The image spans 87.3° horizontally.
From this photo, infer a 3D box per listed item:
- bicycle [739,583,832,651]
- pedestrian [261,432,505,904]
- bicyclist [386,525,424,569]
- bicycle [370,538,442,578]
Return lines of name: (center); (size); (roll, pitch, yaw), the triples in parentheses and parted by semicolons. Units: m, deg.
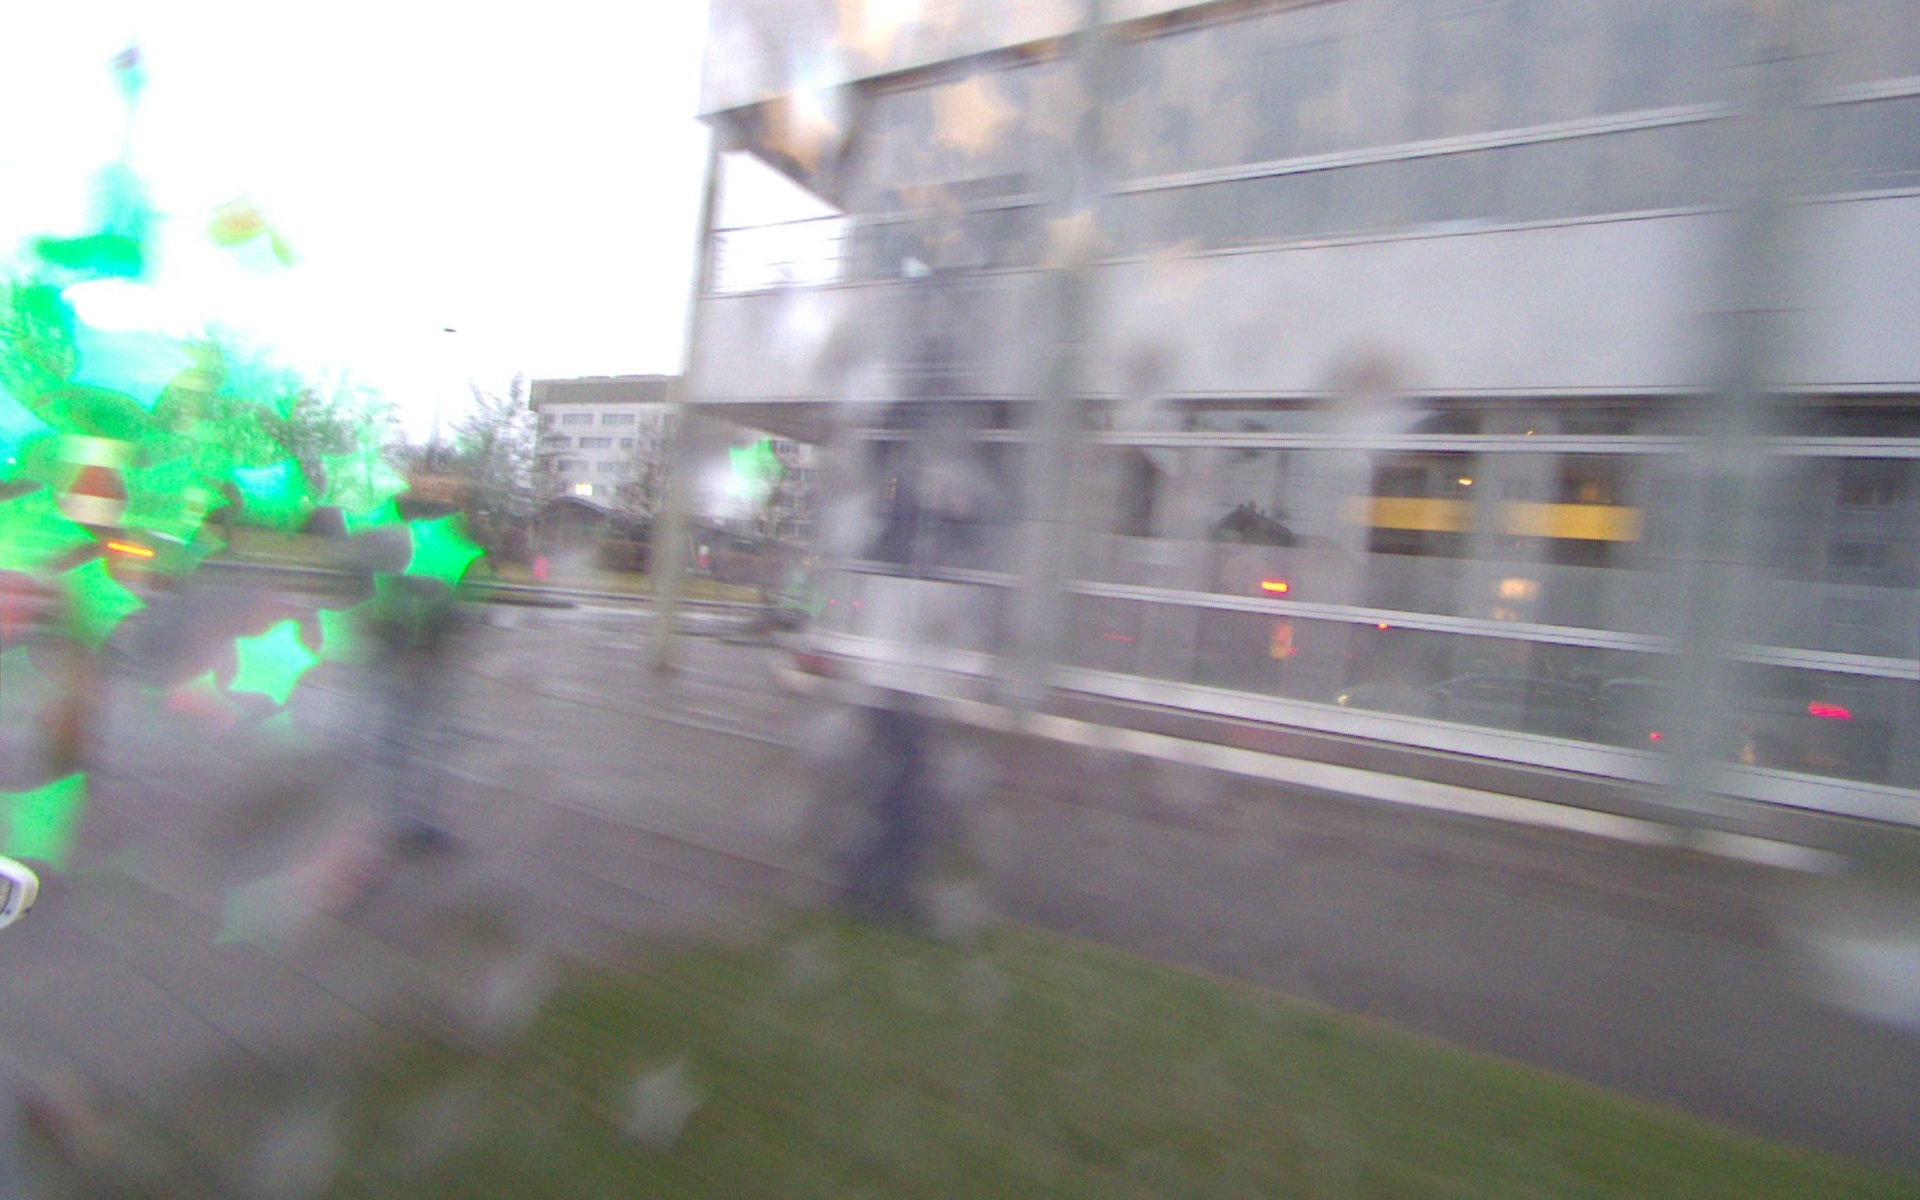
bicycle: (-3.395, 0.313, 19.509); (1.844, 1.118, 0.470); (6, 2, 31)
pedestrian: (-2.463, 0.245, 4.312); (0.789, 1.775, 0.854); (2, 5, -31)
bicyclist: (-20.186, -1.921, 36.597); (0.912, 1.447, 0.752); (6, -1, 34)
bicycle: (-20.210, -1.520, 36.749); (1.022, 1.231, 1.966); (8, 2, 28)
